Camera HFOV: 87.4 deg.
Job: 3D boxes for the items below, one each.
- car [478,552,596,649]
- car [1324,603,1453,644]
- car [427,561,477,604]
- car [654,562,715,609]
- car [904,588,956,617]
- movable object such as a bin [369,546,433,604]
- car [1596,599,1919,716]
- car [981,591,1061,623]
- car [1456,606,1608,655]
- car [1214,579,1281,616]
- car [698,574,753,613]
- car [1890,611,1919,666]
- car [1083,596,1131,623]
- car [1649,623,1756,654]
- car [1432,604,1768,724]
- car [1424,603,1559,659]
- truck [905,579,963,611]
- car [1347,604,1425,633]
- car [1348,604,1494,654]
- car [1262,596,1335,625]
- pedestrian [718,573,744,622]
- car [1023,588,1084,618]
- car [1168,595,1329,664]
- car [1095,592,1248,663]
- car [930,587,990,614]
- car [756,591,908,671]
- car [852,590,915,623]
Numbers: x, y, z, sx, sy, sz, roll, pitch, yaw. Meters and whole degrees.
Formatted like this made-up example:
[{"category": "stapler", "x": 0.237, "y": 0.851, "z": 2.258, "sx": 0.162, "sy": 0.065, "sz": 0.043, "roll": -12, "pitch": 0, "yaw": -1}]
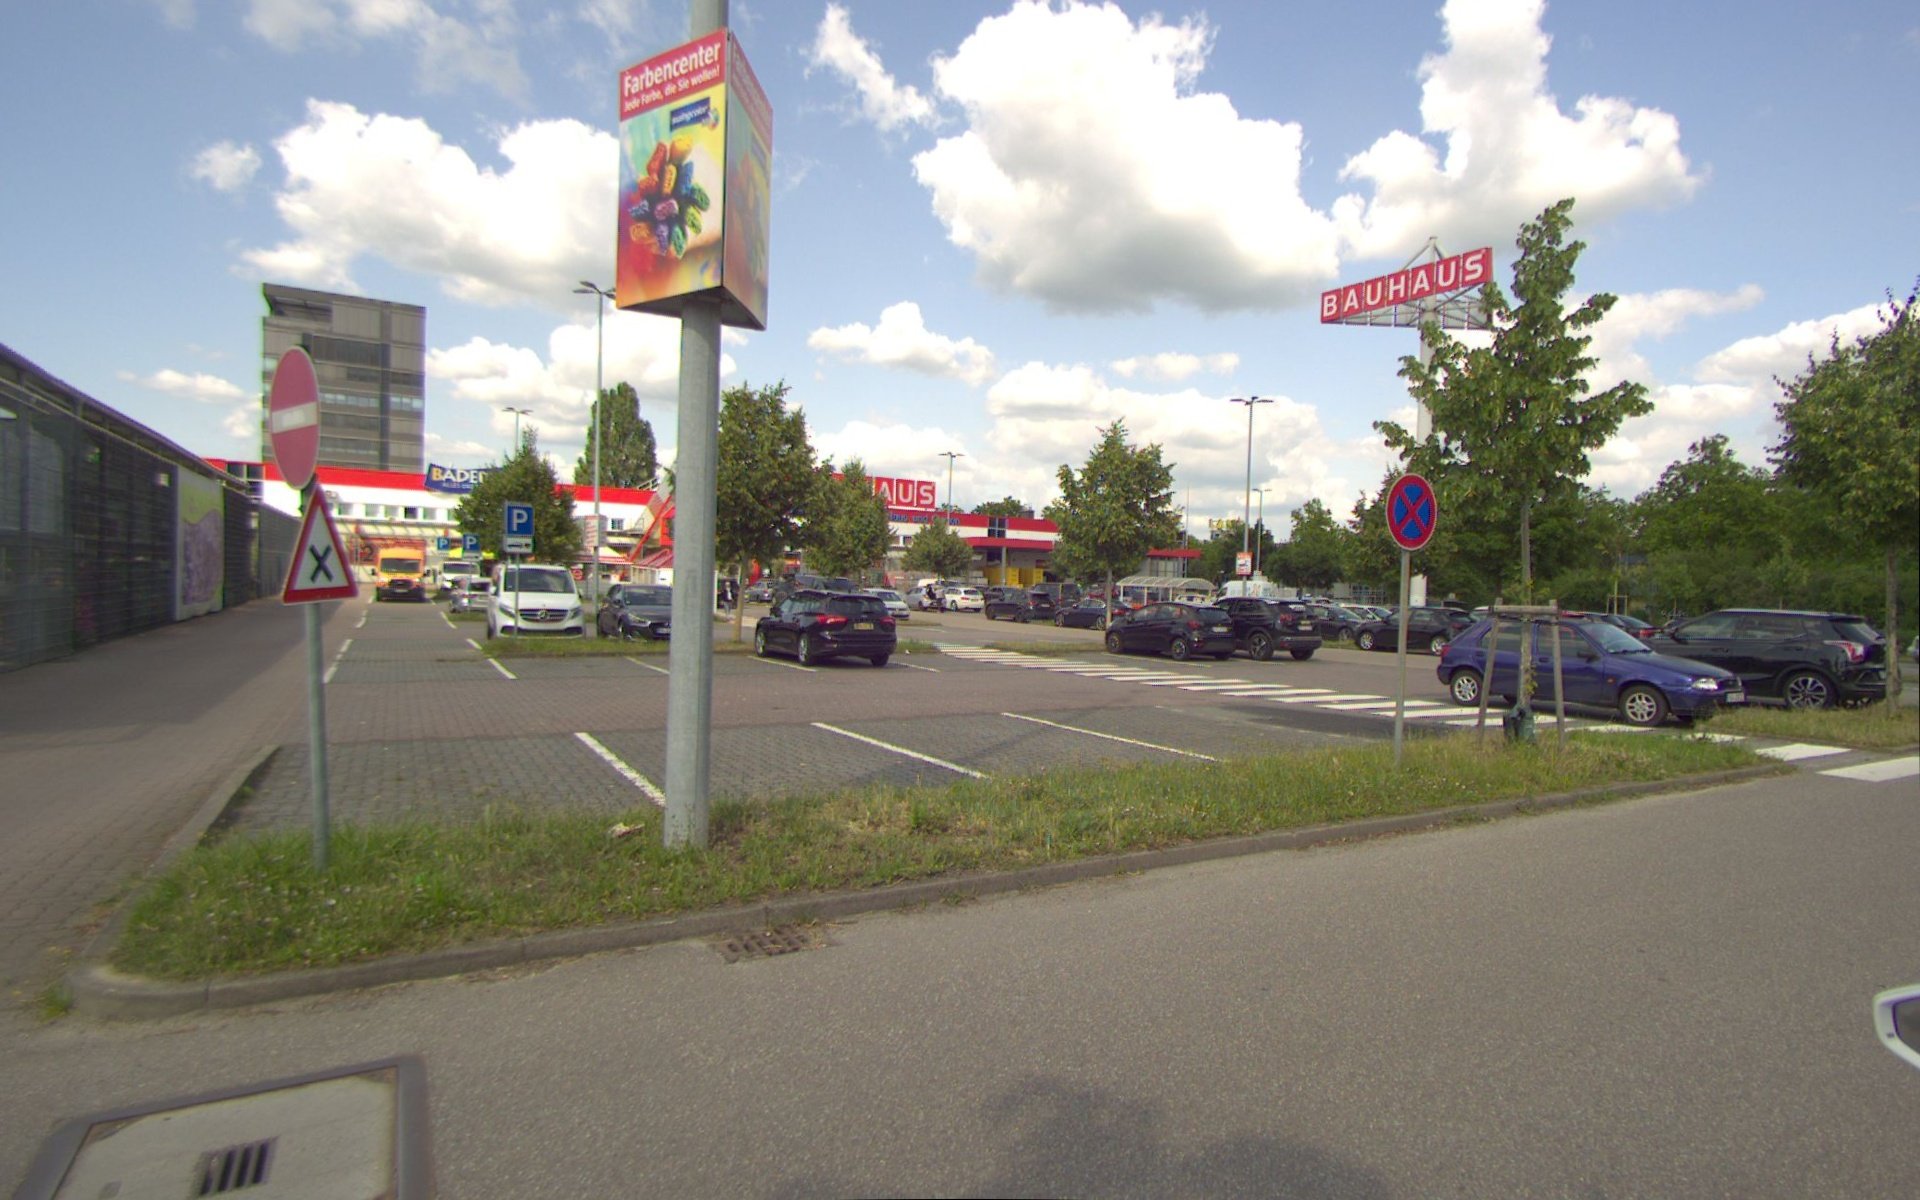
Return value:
[{"category": "car", "x": -10.185, "y": -0.018, "z": 23.941, "sx": 1.976, "sy": 2.040, "sz": 5.146, "roll": 1, "pitch": 1, "yaw": -29}, {"category": "car", "x": 16.383, "y": 0.876, "z": 38.576, "sx": 1.874, "sy": 1.371, "sz": 4.243, "roll": 1, "pitch": 1, "yaw": -32}, {"category": "car", "x": -27.040, "y": -0.919, "z": 53.369, "sx": 1.977, "sy": 2.040, "sz": 4.768, "roll": 5, "pitch": -1, "yaw": -30}, {"category": "car", "x": -16.759, "y": -0.888, "z": 60.951, "sx": 2.217, "sy": 2.671, "sz": 4.287, "roll": 2, "pitch": 0, "yaw": -35}, {"category": "car", "x": -1.811, "y": 0.123, "z": 60.035, "sx": 1.709, "sy": 1.528, "sz": 3.209, "roll": 5, "pitch": -1, "yaw": -31}, {"category": "movable object such as a bin", "x": -26.240, "y": -1.176, "z": 47.044, "sx": 2.109, "sy": 2.527, "sz": 5.285, "roll": 1, "pitch": 1, "yaw": -35}, {"category": "car", "x": 13.245, "y": 0.863, "z": 16.925, "sx": 1.714, "sy": 1.646, "sz": 3.934, "roll": 1, "pitch": 1, "yaw": -28}, {"category": "car", "x": 3.065, "y": 0.351, "z": 51.614, "sx": 1.977, "sy": 1.487, "sz": 4.380, "roll": 1, "pitch": 1, "yaw": -30}, {"category": "car", "x": 19.035, "y": 0.973, "z": 33.580, "sx": 1.747, "sy": 1.417, "sz": 4.052, "roll": 1, "pitch": 1, "yaw": -32}, {"category": "car", "x": 21.560, "y": -0.188, "z": 75.489, "sx": 2.029, "sy": 2.543, "sz": 4.691, "roll": 2, "pitch": 1, "yaw": -29}, {"category": "car", "x": -12.877, "y": -0.363, "z": 55.024, "sx": 1.975, "sy": 2.040, "sz": 3.971, "roll": 1, "pitch": 1, "yaw": -27}, {"category": "car", "x": 35.395, "y": 1.391, "z": 34.397, "sx": 5.044, "sy": 1.867, "sz": 1.991, "roll": 2, "pitch": 1, "yaw": 3}, {"category": "car", "x": 10.006, "y": 0.631, "z": 68.479, "sx": 1.584, "sy": 1.767, "sz": 3.140, "roll": 0, "pitch": 1, "yaw": -31}, {"category": "car", "x": 36.099, "y": 1.855, "z": 48.914, "sx": 3.920, "sy": 1.399, "sz": 1.700, "roll": 1, "pitch": -1, "yaw": 3}, {"category": "car", "x": 8.953, "y": 0.803, "z": 14.381, "sx": 1.602, "sy": 1.386, "sz": 3.733, "roll": 1, "pitch": 1, "yaw": -29}, {"category": "car", "x": 16.927, "y": 0.943, "z": 32.127, "sx": 1.691, "sy": 1.602, "sz": 3.417, "roll": 1, "pitch": 1, "yaw": -32}, {"category": "truck", "x": -1.889, "y": -0.359, "z": 70.905, "sx": 1.838, "sy": 2.040, "sz": 5.368, "roll": 5, "pitch": -1, "yaw": -28}, {"category": "car", "x": 23.991, "y": 1.048, "z": 56.711, "sx": 1.707, "sy": 1.466, "sz": 3.738, "roll": 1, "pitch": 1, "yaw": -34}, {"category": "car", "x": 14.369, "y": 0.874, "z": 31.499, "sx": 1.710, "sy": 1.387, "sz": 3.849, "roll": 1, "pitch": 1, "yaw": -33}, {"category": "car", "x": 20.697, "y": 0.637, "z": 61.536, "sx": 1.889, "sy": 1.617, "sz": 3.965, "roll": 1, "pitch": 1, "yaw": -31}, {"category": "pedestrian", "x": -9.674, "y": -0.124, "z": 42.418, "sx": 0.808, "sy": 2.041, "sz": 0.907, "roll": 1, "pitch": 1, "yaw": -31}, {"category": "car", "x": 6.092, "y": 0.186, "z": 65.694, "sx": 1.978, "sy": 1.802, "sz": 3.964, "roll": 1, "pitch": 1, "yaw": -32}, {"category": "car", "x": 7.666, "y": 0.740, "z": 27.044, "sx": 1.764, "sy": 1.646, "sz": 4.049, "roll": 1, "pitch": 1, "yaw": -31}, {"category": "car", "x": 5.450, "y": 0.655, "z": 26.193, "sx": 1.766, "sy": 1.646, "sz": 3.670, "roll": 1, "pitch": 1, "yaw": -35}, {"category": "car", "x": -0.030, "y": 0.020, "z": 62.496, "sx": 1.977, "sy": 1.529, "sz": 3.967, "roll": 1, "pitch": 1, "yaw": -30}, {"category": "car", "x": -2.656, "y": 0.579, "z": 20.359, "sx": 1.792, "sy": 1.423, "sz": 3.325, "roll": 1, "pitch": 1, "yaw": -33}, {"category": "car", "x": -3.646, "y": 0.278, "z": 47.313, "sx": 1.721, "sy": 1.405, "sz": 3.536, "roll": 1, "pitch": 1, "yaw": -27}]
